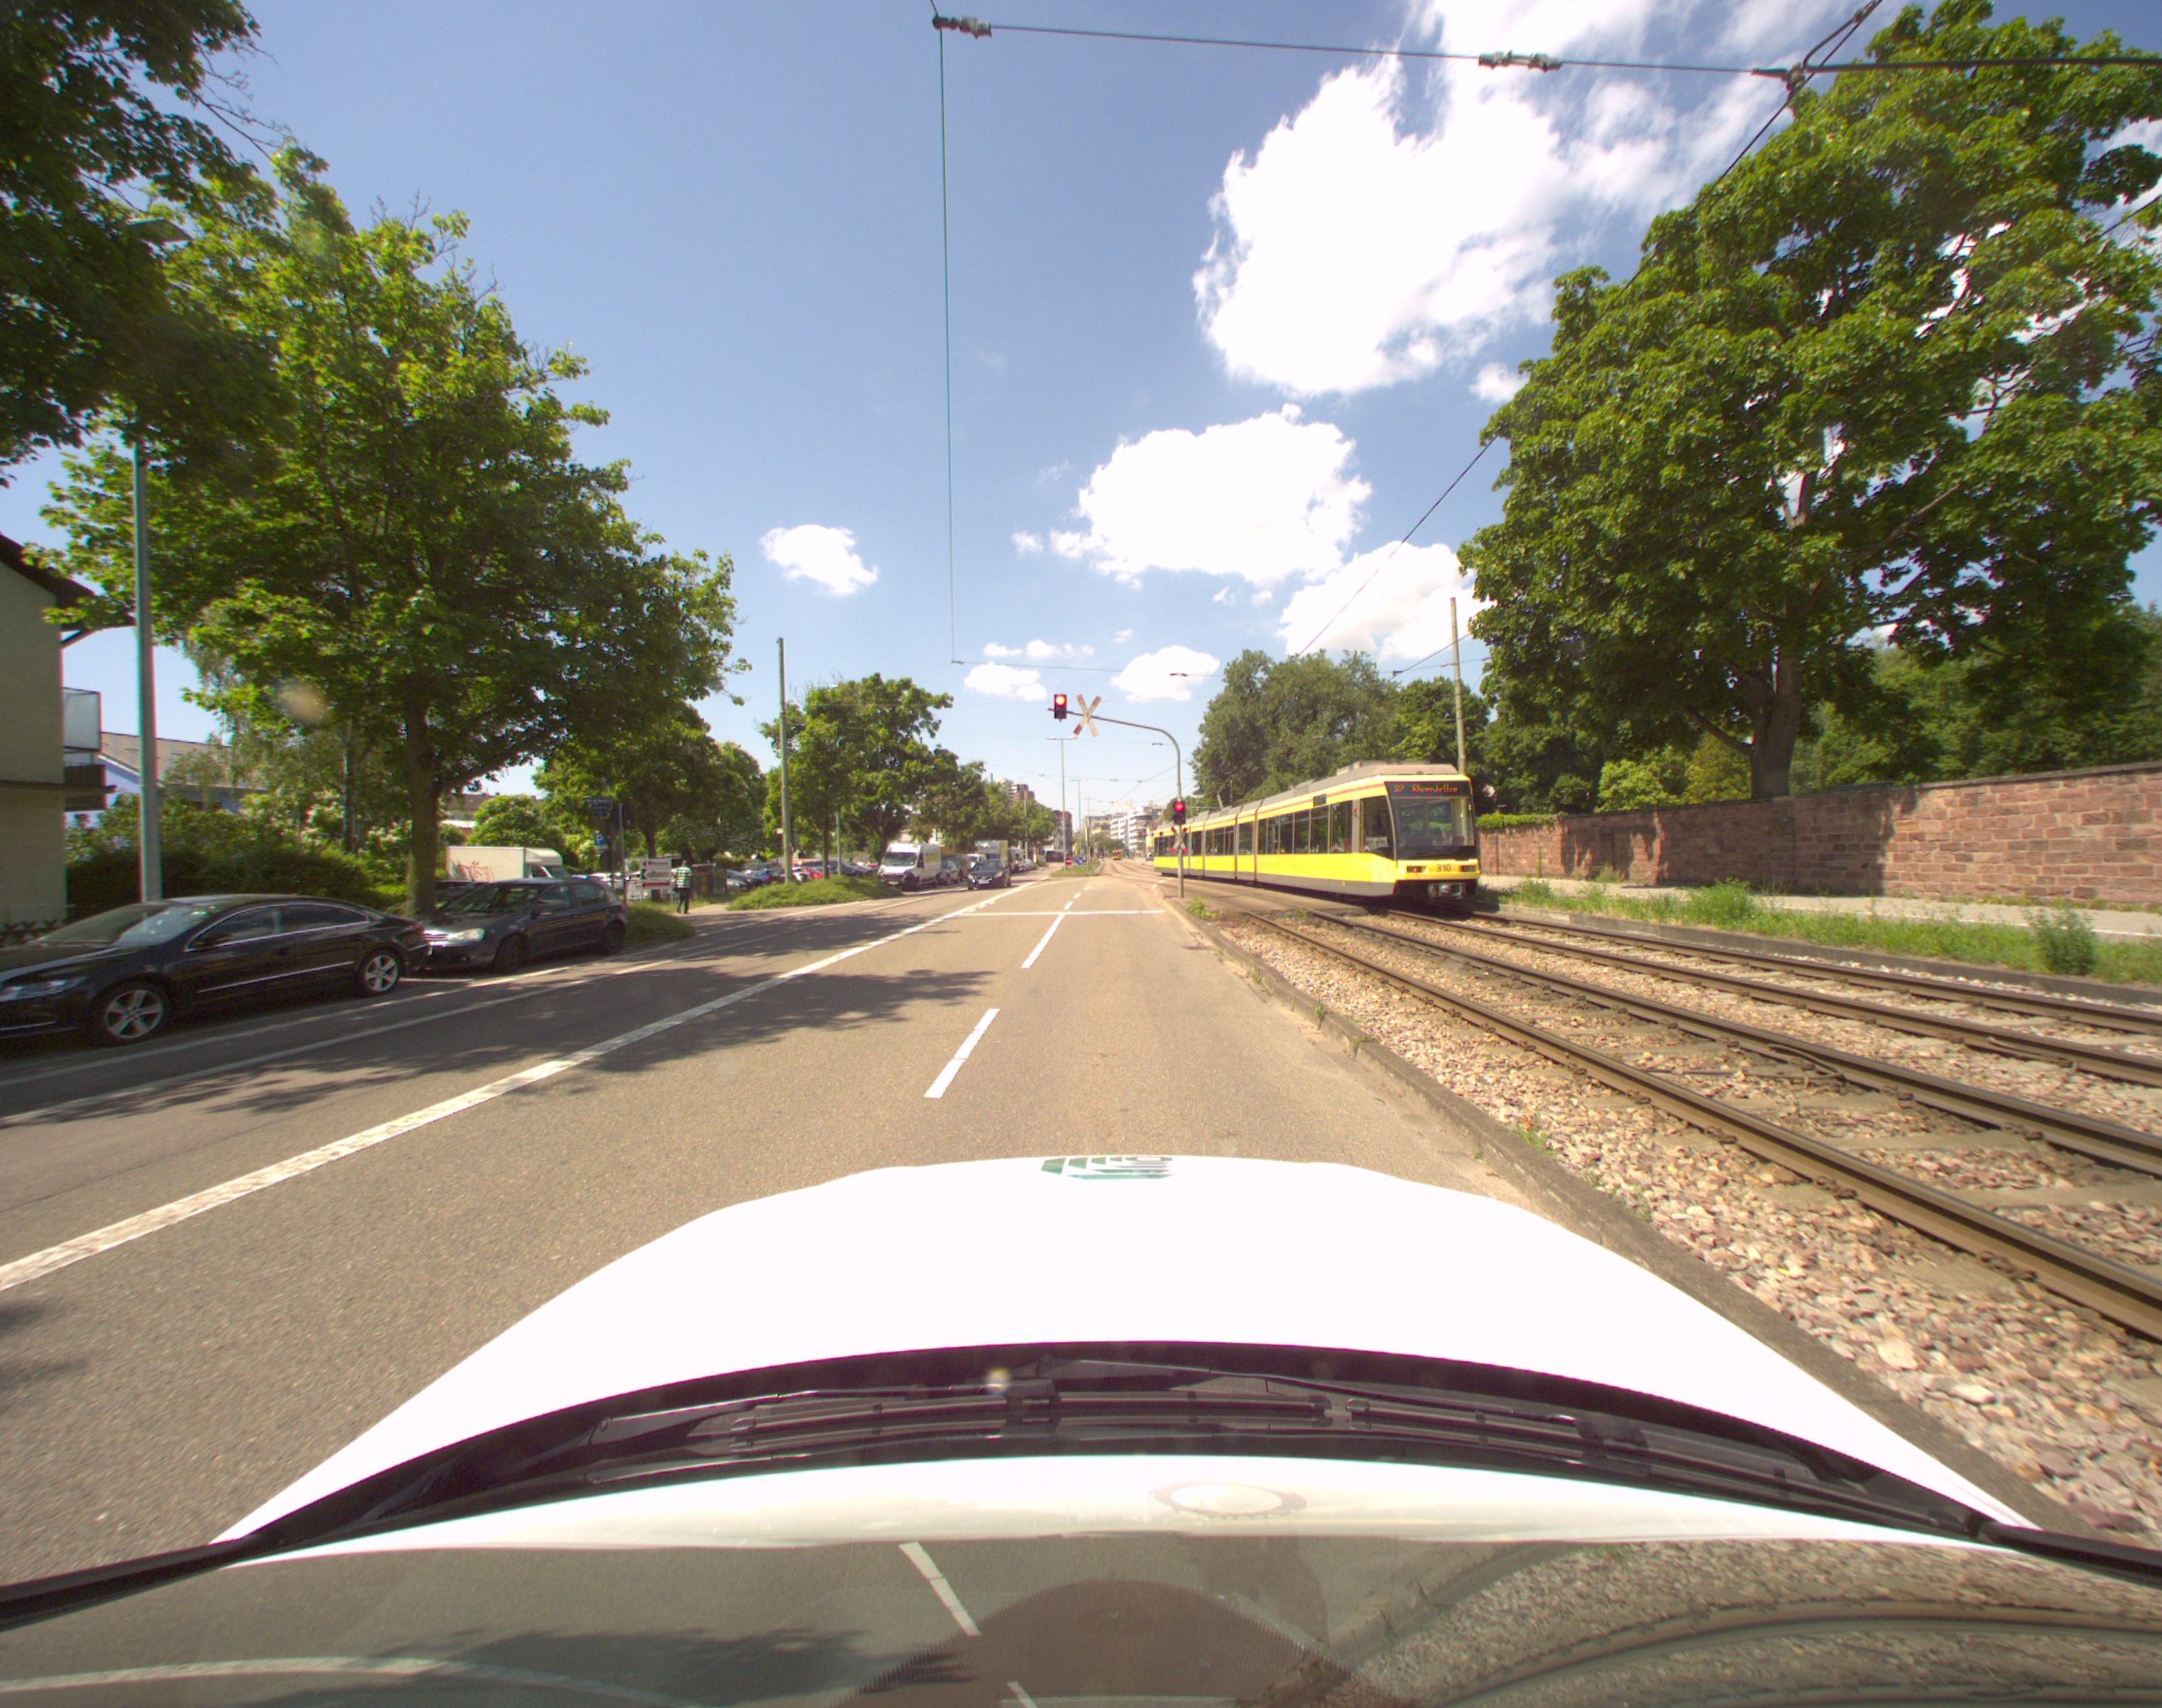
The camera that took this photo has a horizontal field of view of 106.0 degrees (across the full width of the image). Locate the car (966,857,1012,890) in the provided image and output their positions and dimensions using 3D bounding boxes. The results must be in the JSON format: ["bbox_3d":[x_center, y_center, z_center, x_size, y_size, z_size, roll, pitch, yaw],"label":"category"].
[{"bbox_3d":[-4.460,0.934,40.063,1.672,1.398,4.006,-4,0,1],"label":"car"}]

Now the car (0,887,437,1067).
[{"bbox_3d":[-10.276,1.177,9.481,1.769,1.373,4.696,0,0,0],"label":"car"}]

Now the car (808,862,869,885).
[{"bbox_3d":[-18.278,1.467,61.516,3.973,1.606,1.805,-2,0,0],"label":"car"}]

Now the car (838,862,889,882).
[{"bbox_3d":[-19.031,1.561,71.388,3.973,1.606,1.805,-2,0,0],"label":"car"}]

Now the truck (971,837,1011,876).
[{"bbox_3d":[-7.871,0.189,72.207,2.147,3.210,7.090,1,0,4],"label":"truck"}]

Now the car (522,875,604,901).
[{"bbox_3d":[-32.543,2.101,51.241,3.973,1.442,1.805,-2,0,0],"label":"car"}]

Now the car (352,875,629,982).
[{"bbox_3d":[-9.962,1.169,14.206,1.768,1.481,4.049,0,0,2],"label":"car"}]

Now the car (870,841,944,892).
[{"bbox_3d":[-9.266,0.610,44.043,2.147,2.487,6.200,-2,0,4],"label":"car"}]

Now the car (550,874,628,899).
[{"bbox_3d":[-32.569,2.126,53.968,3.973,1.442,1.805,-2,0,0],"label":"car"}]

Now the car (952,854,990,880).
[{"bbox_3d":[-8.560,0.999,63.592,2.053,1.898,4.874,-2,0,2],"label":"car"}]

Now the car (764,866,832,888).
[{"bbox_3d":[-19.483,1.567,56.140,3.973,1.339,1.805,-2,0,0],"label":"car"}]

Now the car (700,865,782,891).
[{"bbox_3d":[-19.788,1.404,47.481,3.973,1.339,1.805,-2,0,0],"label":"car"}]

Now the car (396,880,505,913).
[{"bbox_3d":[-31.181,2.071,40.349,3.974,1.399,1.773,-2,0,0],"label":"car"}]

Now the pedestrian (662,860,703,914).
[{"bbox_3d":[-14.091,1.151,28.815,0.971,1.823,0.794,-2,0,-1],"label":"pedestrian"}]

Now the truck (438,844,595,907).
[{"bbox_3d":[-32.074,1.194,46.436,7.165,3.228,2.332,-2,0,-1],"label":"truck"}]

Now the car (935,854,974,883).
[{"bbox_3d":[-8.873,1.007,57.575,1.861,1.895,4.273,-2,0,2],"label":"car"}]

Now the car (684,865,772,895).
[{"bbox_3d":[-19.482,1.425,45.054,3.973,1.442,1.805,-2,0,0],"label":"car"}]

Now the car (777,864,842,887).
[{"bbox_3d":[-19.443,1.543,58.370,3.973,1.442,1.805,-2,0,1],"label":"car"}]

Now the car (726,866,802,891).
[{"bbox_3d":[-19.799,1.522,50.944,3.973,1.339,1.805,-2,0,0],"label":"car"}]

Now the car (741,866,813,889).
[{"bbox_3d":[-19.949,1.537,53.586,3.973,1.339,1.805,-2,0,0],"label":"car"}]

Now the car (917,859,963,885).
[{"bbox_3d":[-8.689,1.091,50.492,1.861,1.437,4.345,-2,0,2],"label":"car"}]

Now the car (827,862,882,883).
[{"bbox_3d":[-18.922,1.540,68.163,3.973,1.606,1.805,-2,0,0],"label":"car"}]

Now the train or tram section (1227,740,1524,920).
[{"bbox_3d":[7.743,-0.524,26.068,2.934,3.692,18.388,-1,0,0],"label":"train or tram section"}]

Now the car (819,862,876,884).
[{"bbox_3d":[-18.822,1.508,65.757,3.973,1.606,1.805,-2,0,0],"label":"car"}]

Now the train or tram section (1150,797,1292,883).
[{"bbox_3d":[6.911,-0.622,45.242,2.938,3.692,20.251,-1,0,-4],"label":"train or tram section"}]

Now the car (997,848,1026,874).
[{"bbox_3d":[-7.429,0.763,87.242,2.147,2.639,5.618,-1,0,4],"label":"car"}]

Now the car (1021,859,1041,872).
[{"bbox_3d":[-6.645,1.488,108.458,2.053,1.582,4.874,-2,0,2],"label":"car"}]

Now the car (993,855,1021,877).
[{"bbox_3d":[-7.232,1.138,79.923,2.053,1.977,4.874,-2,0,2],"label":"car"}]

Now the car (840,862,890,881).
[{"bbox_3d":[-19.546,1.582,73.654,3.973,1.606,1.805,-2,0,0],"label":"car"}]
